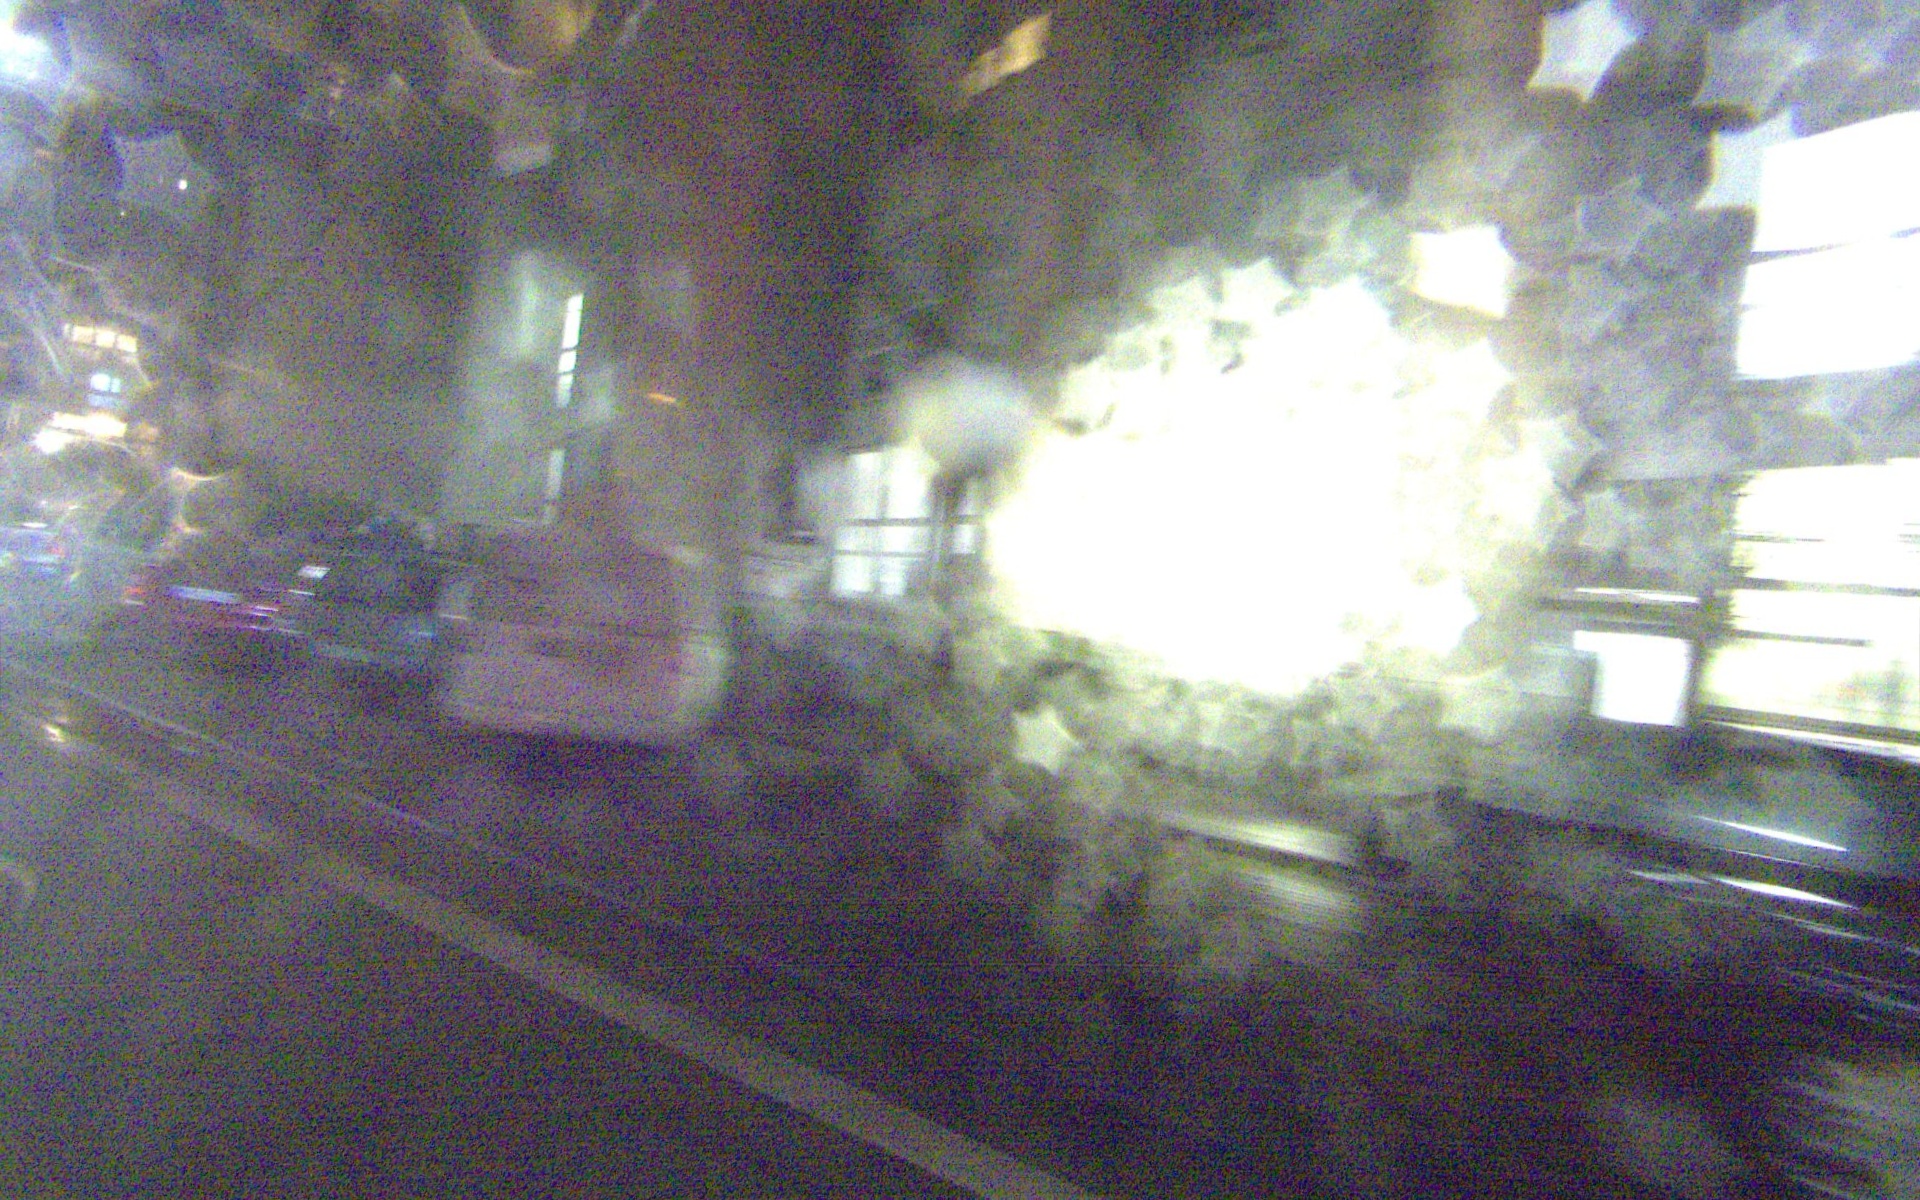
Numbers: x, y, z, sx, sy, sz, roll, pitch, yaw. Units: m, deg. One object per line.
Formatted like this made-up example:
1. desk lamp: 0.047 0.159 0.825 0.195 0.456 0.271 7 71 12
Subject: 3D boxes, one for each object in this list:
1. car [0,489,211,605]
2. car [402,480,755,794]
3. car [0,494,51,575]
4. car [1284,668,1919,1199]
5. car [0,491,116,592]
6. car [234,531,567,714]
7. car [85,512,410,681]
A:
1. car: -13.657 -0.780 15.579 1.793 1.449 3.848 8 -2 -14
2. car: -2.974 0.317 8.886 1.931 1.859 4.169 9 -2 -10
3. car: -19.529 -1.442 19.157 1.679 1.550 3.740 10 -3 -17
4. car: 3.218 1.224 4.358 1.575 1.455 3.828 8 -2 -13
5. car: -16.174 -1.068 16.423 1.791 1.551 3.884 8 -2 -10
6. car: -5.553 0.242 10.492 1.602 1.401 3.337 7 -2 -3
7. car: -8.061 -0.100 11.923 1.667 1.421 4.440 8 0 -17
